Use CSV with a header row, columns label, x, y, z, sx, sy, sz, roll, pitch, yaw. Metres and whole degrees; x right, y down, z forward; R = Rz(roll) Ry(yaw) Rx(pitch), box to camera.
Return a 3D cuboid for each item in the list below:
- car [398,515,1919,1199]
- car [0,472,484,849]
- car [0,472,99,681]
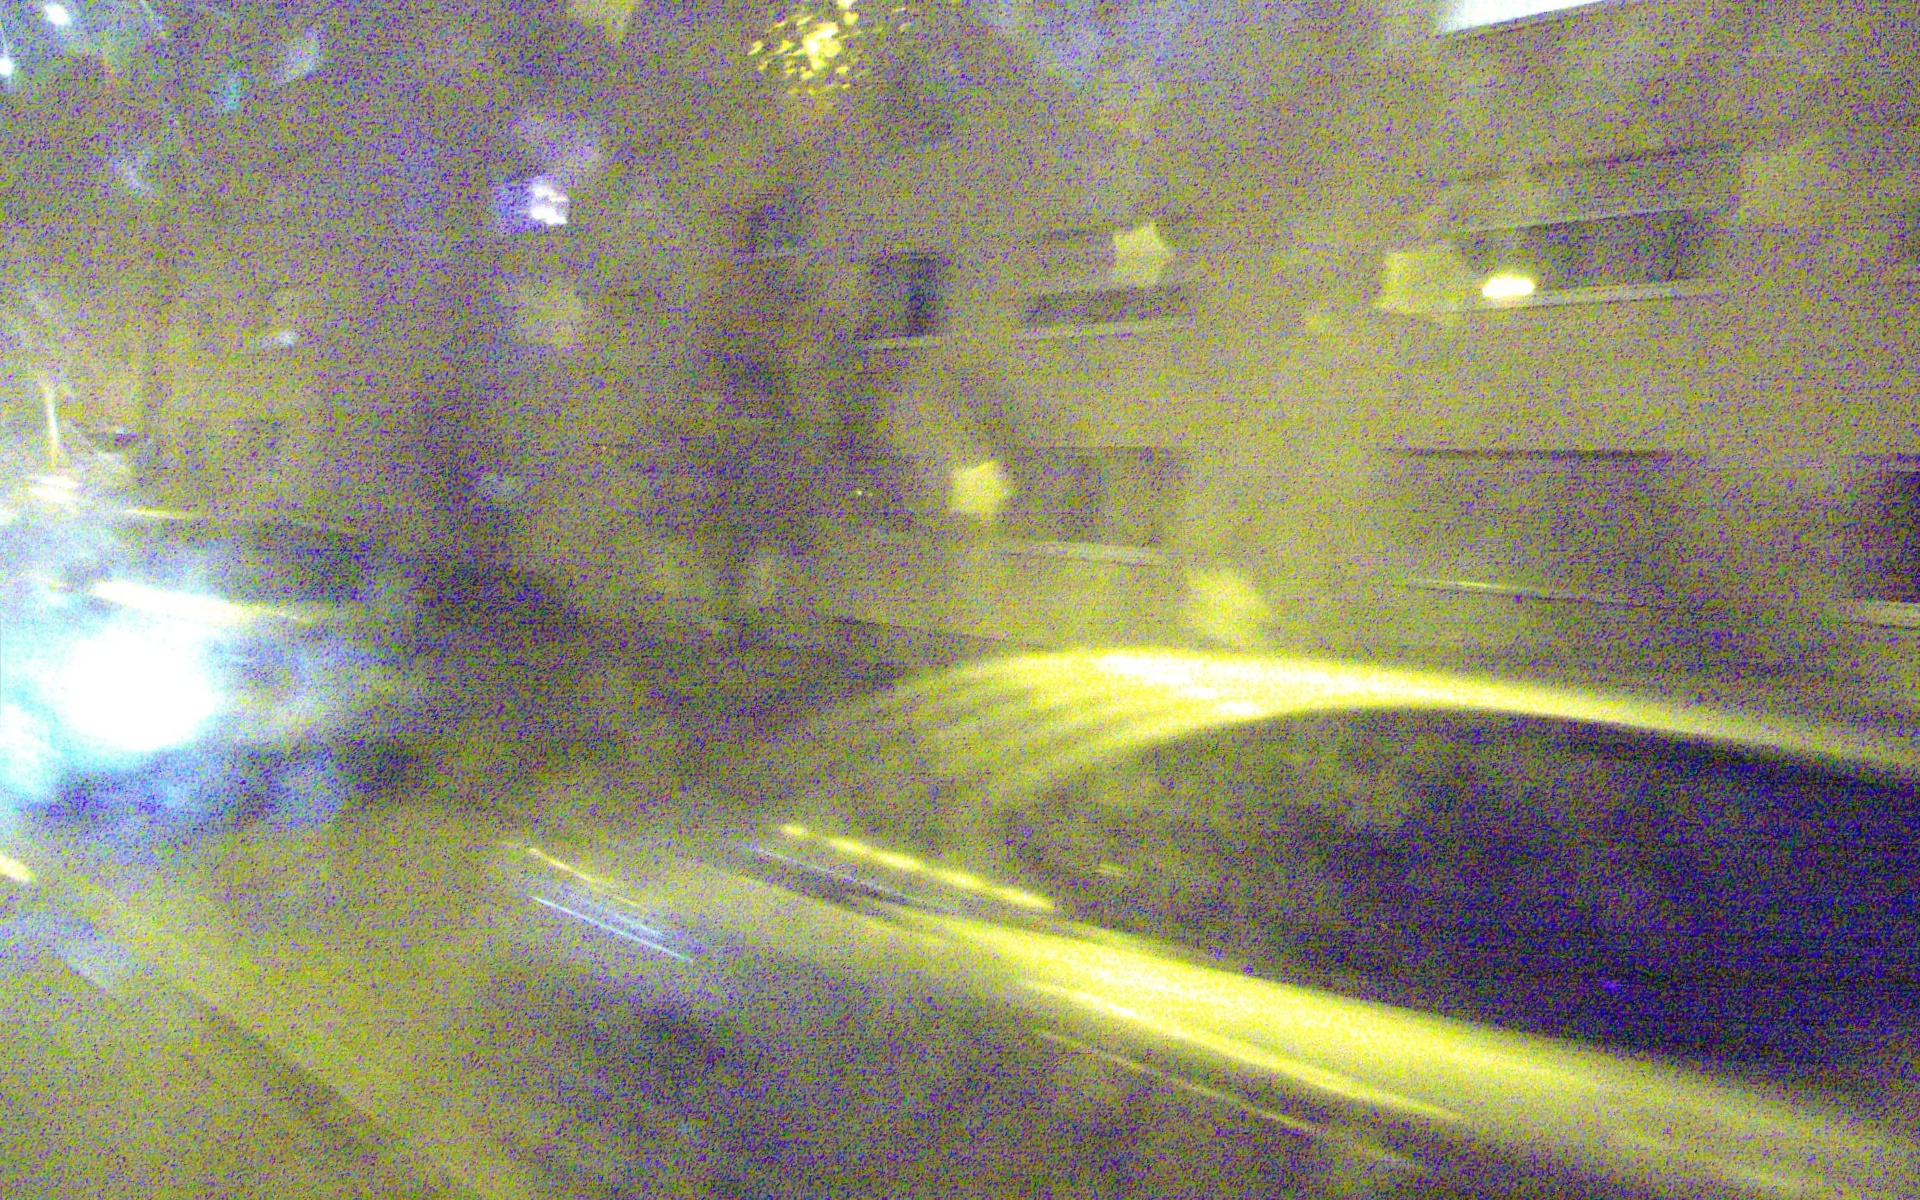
label,x,y,z,sx,sy,sz,roll,pitch,yaw
car,0.797,0.779,2.298,3.884,1.492,1.797,7,2,29
car,-4.946,0.113,6.010,3.884,1.568,1.797,7,2,29
car,-9.528,-0.438,8.507,4.666,1.600,1.869,7,2,29
